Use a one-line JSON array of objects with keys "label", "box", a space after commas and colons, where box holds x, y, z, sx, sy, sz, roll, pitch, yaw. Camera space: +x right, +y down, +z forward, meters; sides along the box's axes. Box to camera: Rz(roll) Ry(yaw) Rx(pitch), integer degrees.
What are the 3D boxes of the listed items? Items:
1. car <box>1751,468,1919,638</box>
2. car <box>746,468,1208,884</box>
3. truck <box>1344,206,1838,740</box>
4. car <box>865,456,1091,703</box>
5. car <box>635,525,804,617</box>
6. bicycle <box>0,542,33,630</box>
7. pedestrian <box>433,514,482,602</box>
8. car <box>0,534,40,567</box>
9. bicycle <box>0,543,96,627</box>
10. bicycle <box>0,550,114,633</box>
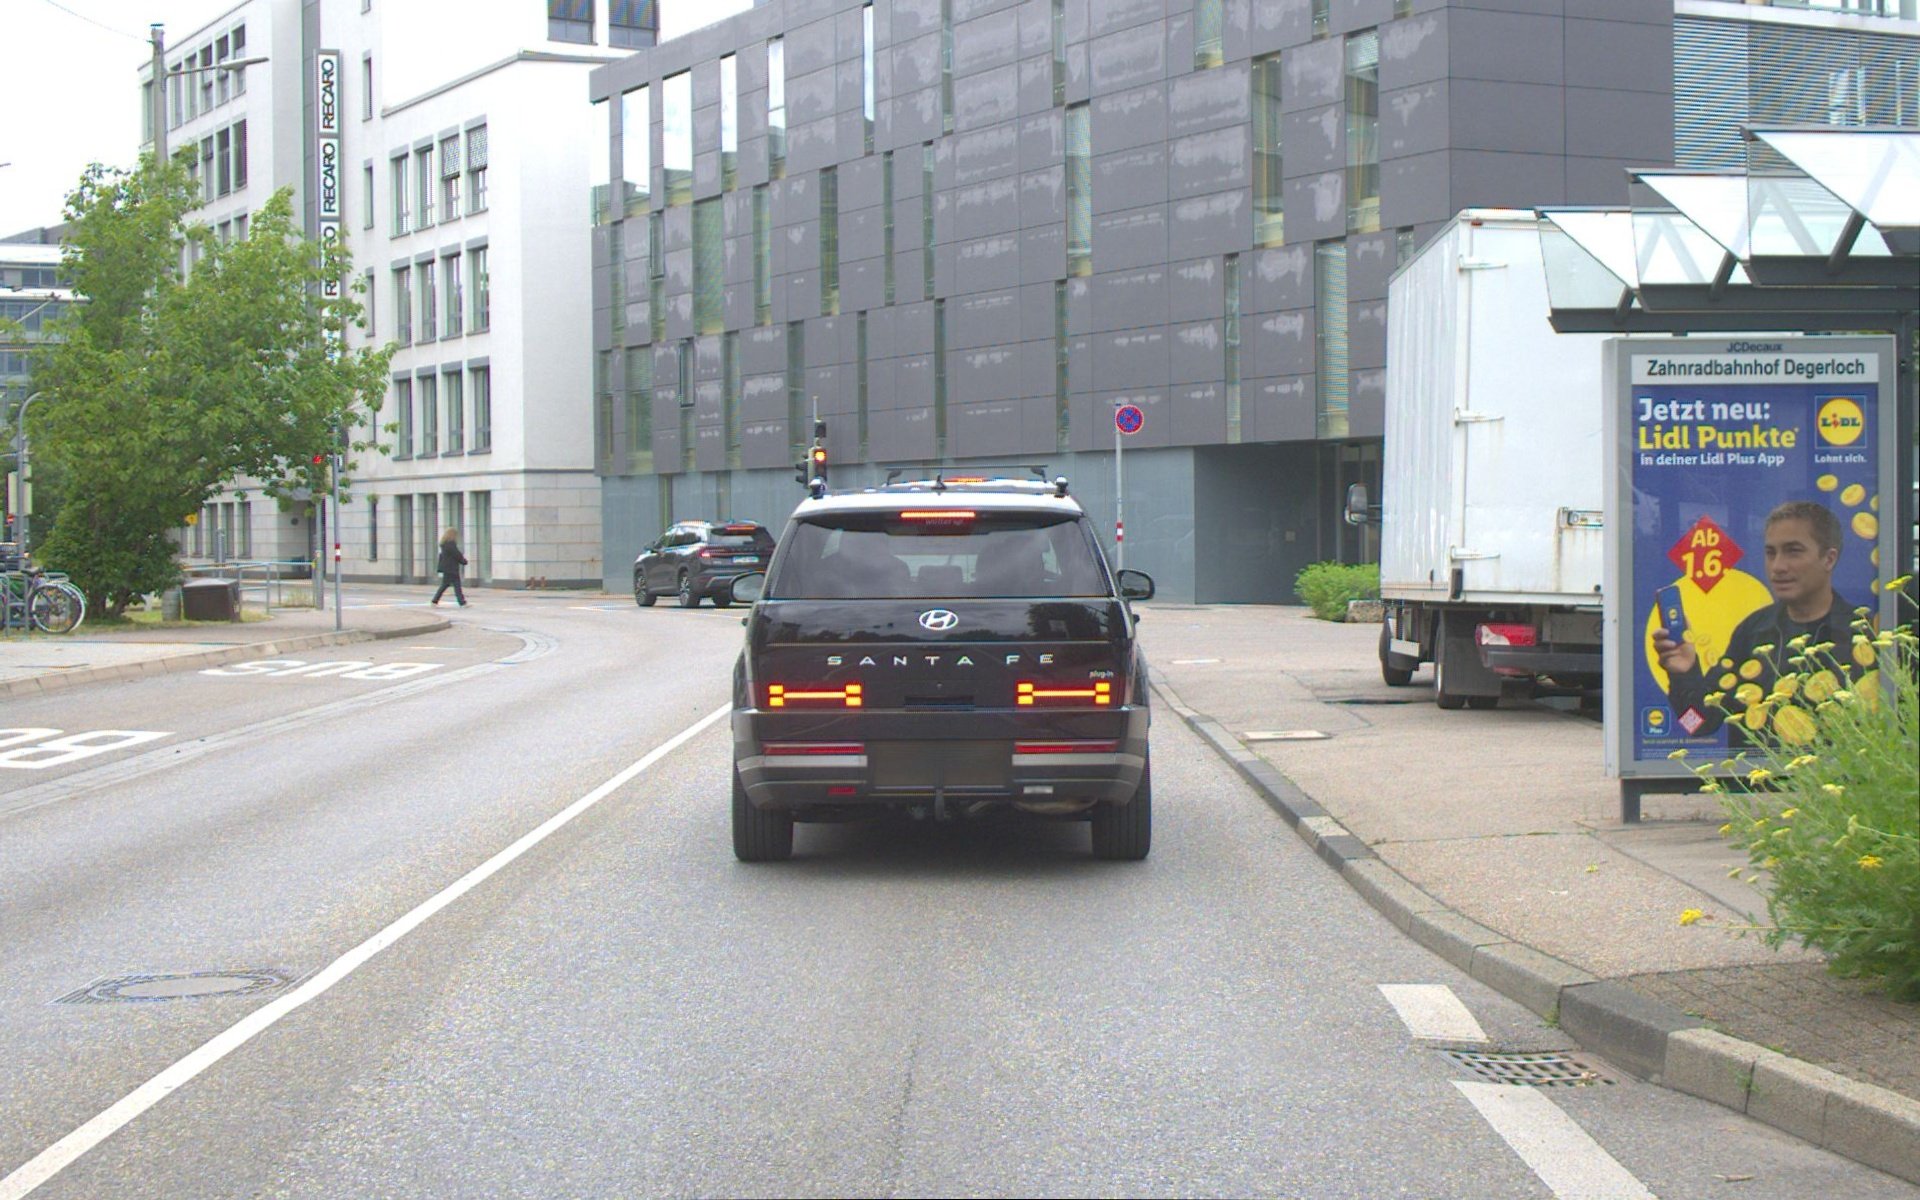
[{"label": "car", "box": [10.720, -0.556, 39.862, 1.993, 1.831, 4.518, -2, 1, 0]}, {"label": "car", "box": [-0.013, 0.273, 16.536, 1.915, 1.719, 4.171, 1, 1, -2]}, {"label": "truck", "box": [4.627, -0.933, 26.729, 2.573, 3.513, 7.810, -1, 1, 2]}, {"label": "car", "box": [0.133, -0.230, 30.759, 1.855, 2.026, 4.437, -1, 2, 0]}, {"label": "car", "box": [-4.691, -0.550, 66.420, 1.847, 1.671, 4.376, -2, 1, -23]}, {"label": "bicycle", "box": [-12.820, -0.184, 43.659, 1.928, 1.102, 0.587, 1, 1, 2]}, {"label": "pedestrian", "box": [-10.390, -0.867, 71.058, 0.938, 1.794, 0.591, -1, 1, -11]}, {"label": "car", "box": [-43.844, -2.321, 159.896, 1.899, 1.481, 4.001, -1, 1, -17]}, {"label": "bicycle", "box": [-12.660, -0.204, 45.883, 2.099, 1.102, 0.631, 1, 1, 2]}, {"label": "bicycle", "box": [-12.615, -0.123, 46.683, 2.099, 1.102, 0.631, 1, 1, 2]}]
